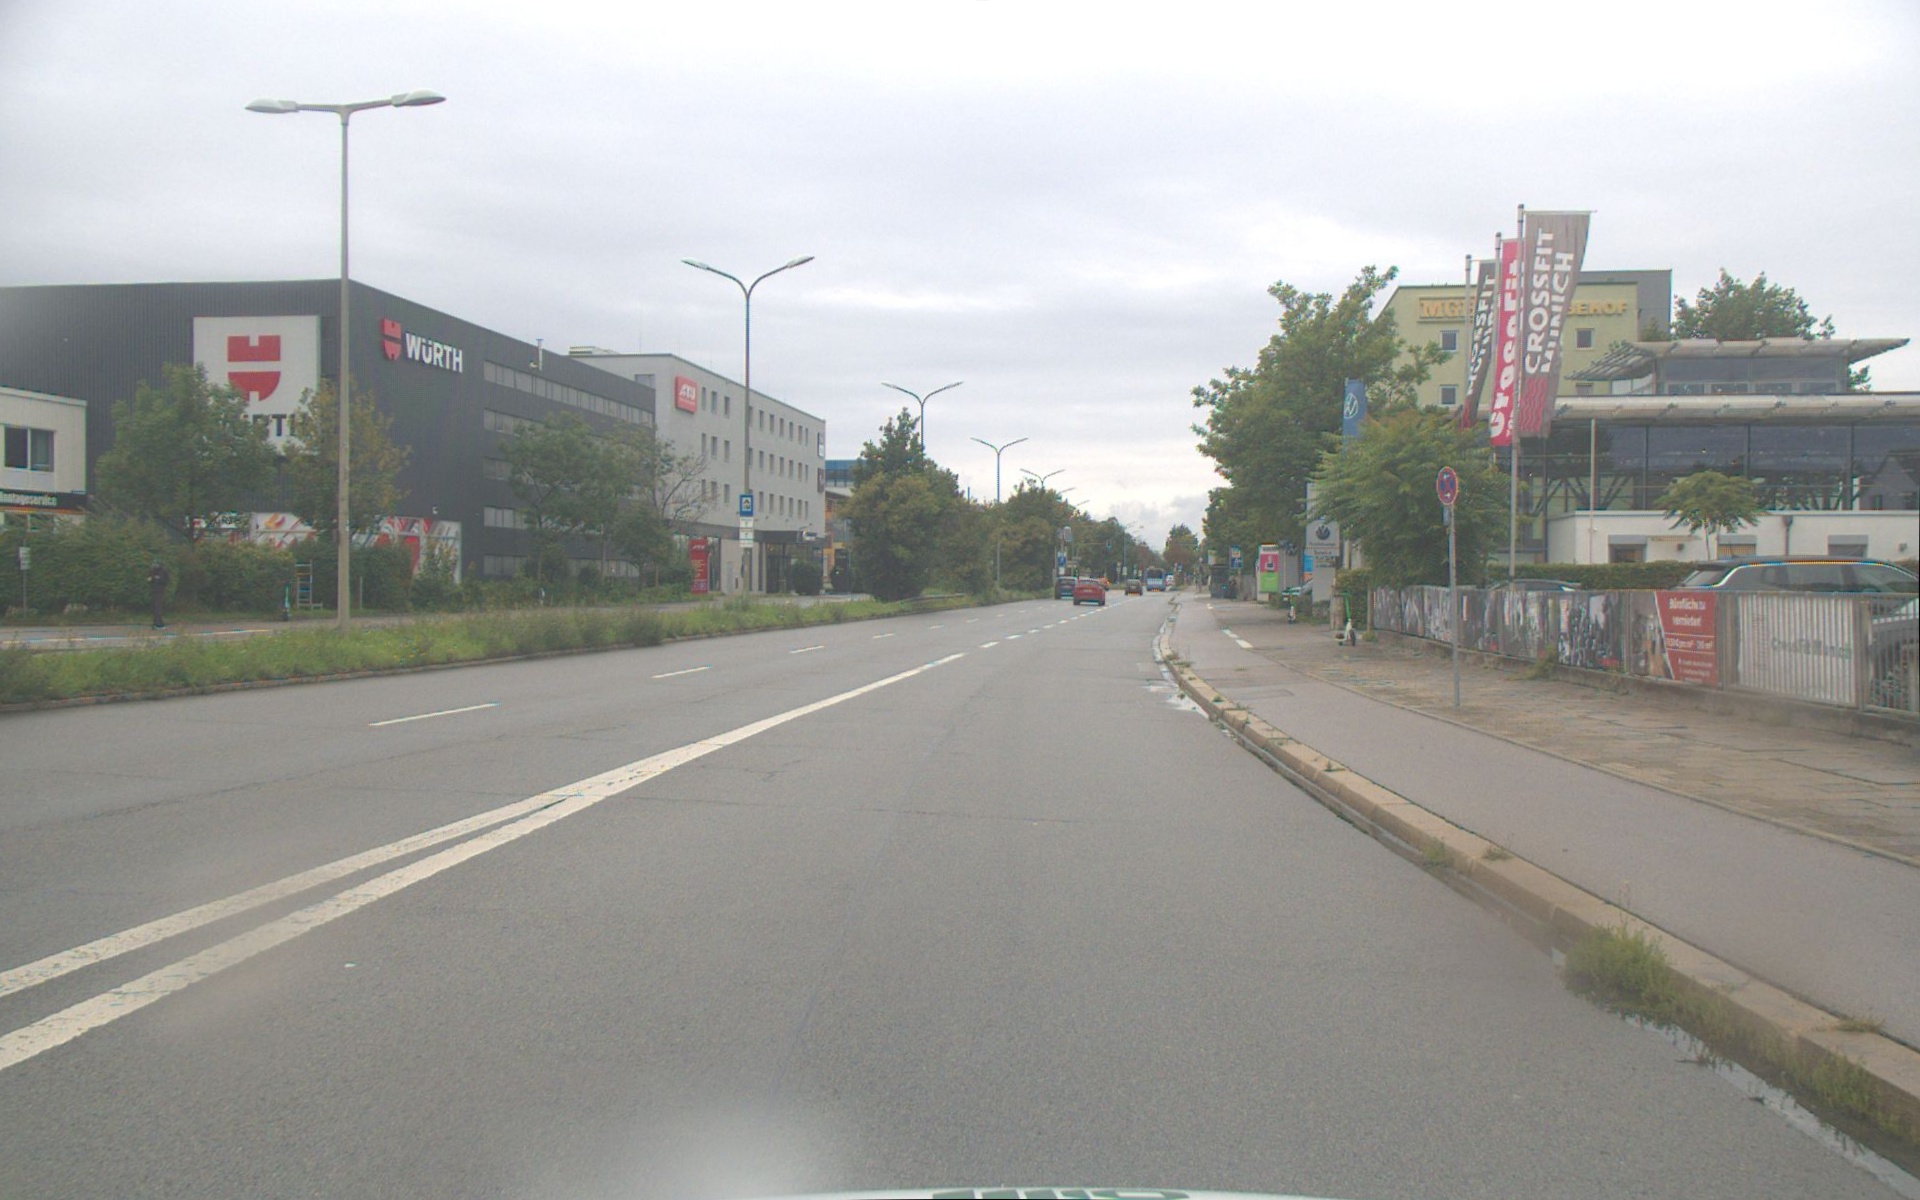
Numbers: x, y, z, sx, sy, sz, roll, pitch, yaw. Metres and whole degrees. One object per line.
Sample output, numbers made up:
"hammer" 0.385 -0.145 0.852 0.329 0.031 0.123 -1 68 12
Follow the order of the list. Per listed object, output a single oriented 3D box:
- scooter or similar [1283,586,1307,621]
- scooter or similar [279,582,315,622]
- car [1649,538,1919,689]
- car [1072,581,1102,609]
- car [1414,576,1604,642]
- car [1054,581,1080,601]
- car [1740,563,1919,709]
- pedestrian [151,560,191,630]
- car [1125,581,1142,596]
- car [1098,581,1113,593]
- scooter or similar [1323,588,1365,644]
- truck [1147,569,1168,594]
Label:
"scooter or similar" 11.811 0.125 58.374 0.486 1.226 1.429 -3 0 -2
"scooter or similar" -20.886 0.050 52.111 0.436 1.249 1.388 0 1 6
"car" 10.890 0.149 20.424 4.009 1.756 1.928 0 1 6
"car" 7.852 -0.310 102.064 1.823 1.646 4.002 1 0 5
"car" 12.672 0.186 38.406 3.928 1.486 1.795 0 1 8
"car" 8.031 -0.705 123.992 1.765 1.457 4.003 0 1 6
"car" 10.753 0.363 17.610 4.009 1.475 1.928 0 1 6
"pedestrian" -21.311 -0.142 44.667 0.609 1.862 0.818 0 1 8
"car" 18.021 -1.178 171.571 1.765 1.457 4.003 0 0 6
"car" 18.524 -1.617 210.332 1.765 1.457 4.003 0 0 6
"scooter or similar" 8.692 0.361 37.488 0.389 1.244 1.638 -2 0 -5
"truck" 27.615 -2.583 231.656 2.906 3.343 7.921 0 1 6
